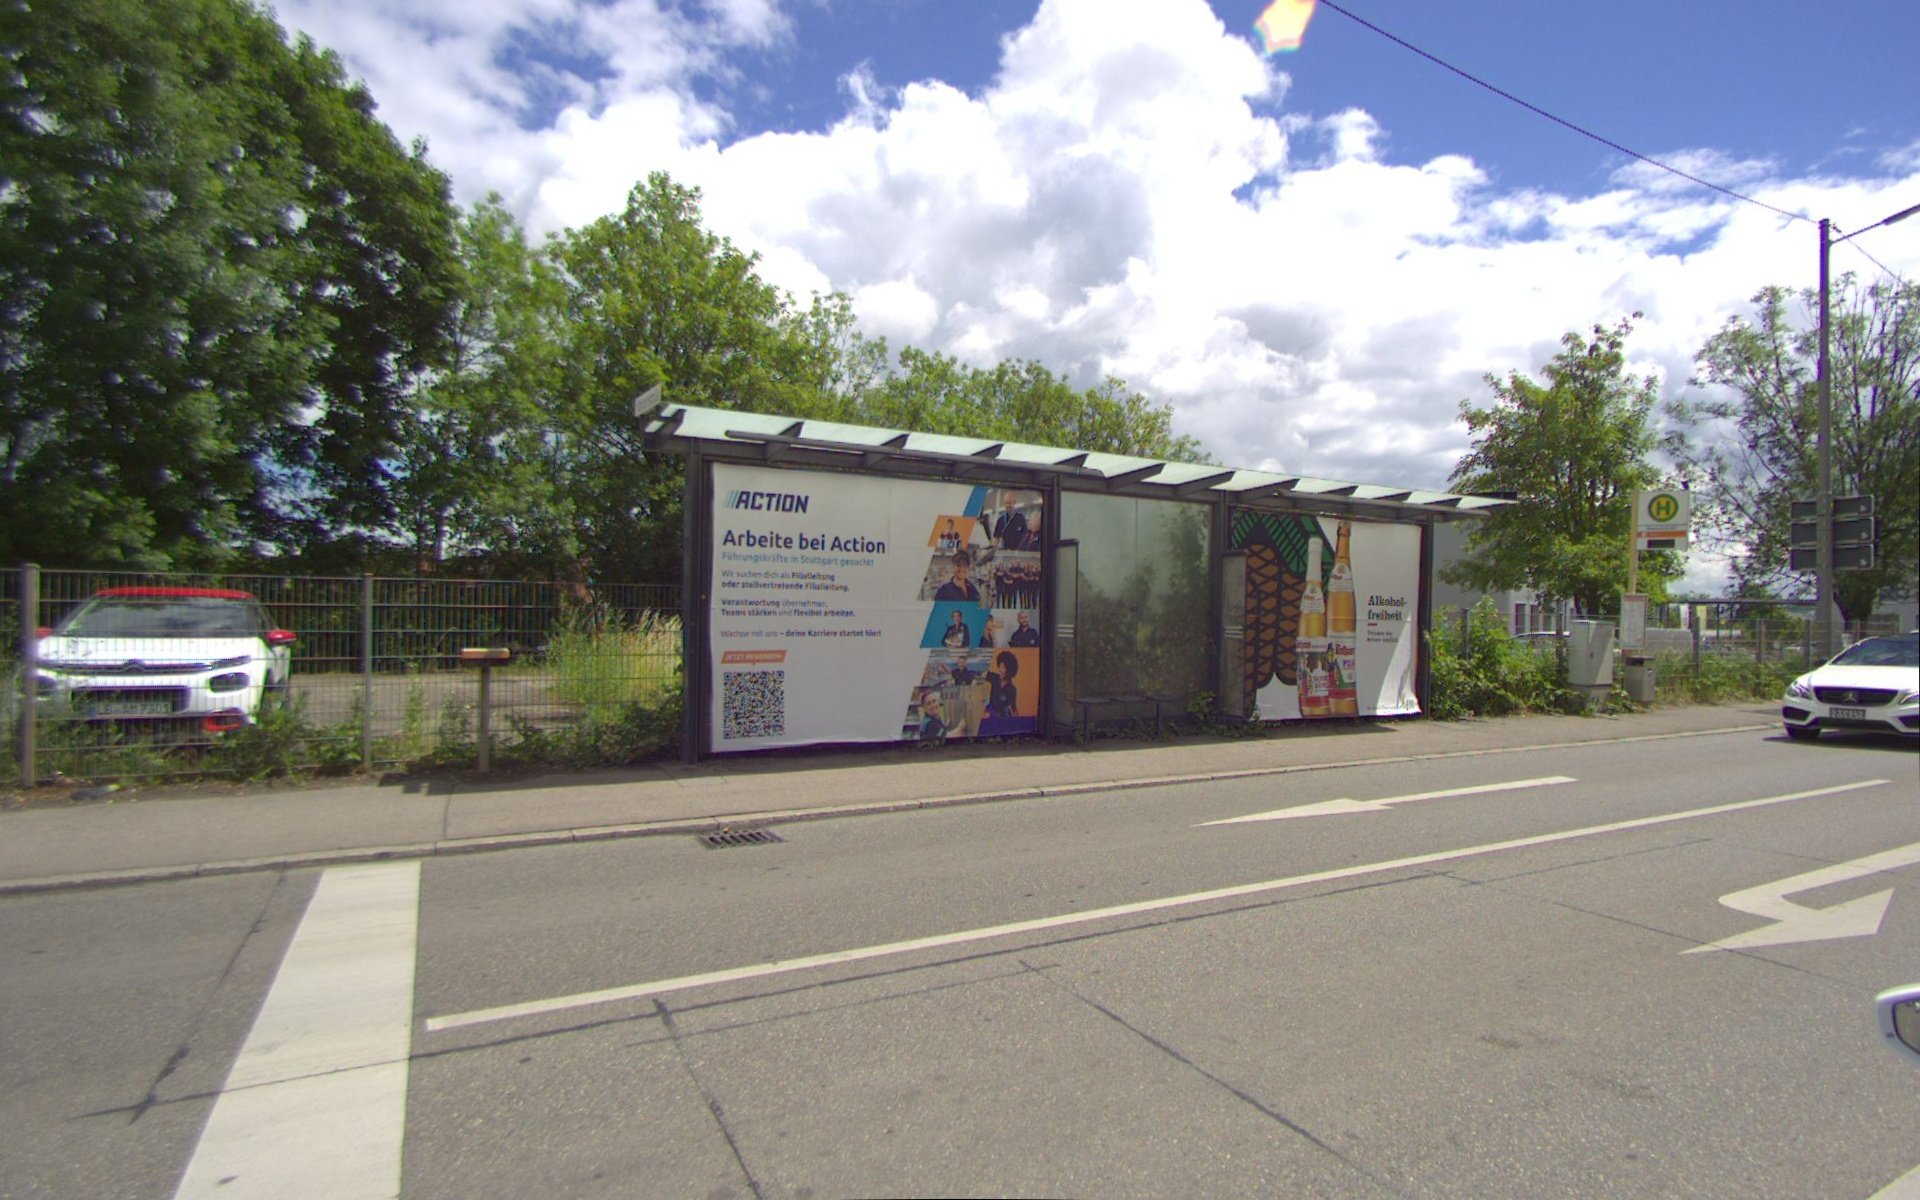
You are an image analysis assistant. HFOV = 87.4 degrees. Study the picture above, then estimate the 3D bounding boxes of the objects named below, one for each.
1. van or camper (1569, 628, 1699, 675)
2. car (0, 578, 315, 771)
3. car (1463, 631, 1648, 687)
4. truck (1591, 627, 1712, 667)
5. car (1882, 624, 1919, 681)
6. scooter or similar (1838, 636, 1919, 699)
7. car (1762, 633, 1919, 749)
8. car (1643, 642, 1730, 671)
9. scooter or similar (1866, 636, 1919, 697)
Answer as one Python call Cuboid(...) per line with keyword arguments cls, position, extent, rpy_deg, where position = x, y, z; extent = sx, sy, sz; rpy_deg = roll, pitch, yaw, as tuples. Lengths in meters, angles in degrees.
Cuboid(cls="van or camper", position=(37.816, 2.813, 56.441), extent=(5.815, 2.386, 2.490), rpy_deg=(0, -1, 41))
Cuboid(cls="car", position=(-7.642, 0.589, 9.705), extent=(2.000, 1.438, 4.293), rpy_deg=(1, -1, -28))
Cuboid(cls="car", position=(16.908, 1.651, 28.753), extent=(1.841, 1.399, 4.263), rpy_deg=(2, -2, -25))
Cuboid(cls="truck", position=(44.331, 3.003, 64.445), extent=(6.217, 2.258, 2.690), rpy_deg=(0, -3, 39))
Cuboid(cls="car", position=(36.658, 1.956, 36.594), extent=(2.175, 2.040, 4.137), rpy_deg=(1, 0, -32))
Cuboid(cls="scooter or similar", position=(19.379, 1.422, 21.183), extent=(1.446, 1.279, 0.535), rpy_deg=(2, 1, -14))
Cuboid(cls="car", position=(12.999, 1.148, 13.738), extent=(4.175, 1.395, 1.788), rpy_deg=(1, -2, -30))
Cuboid(cls="car", position=(44.160, 3.448, 61.124), extent=(4.174, 1.516, 1.922), rpy_deg=(2, -2, 37))
Cuboid(cls="scooter or similar", position=(20.602, 1.451, 22.026), extent=(1.452, 1.283, 0.533), rpy_deg=(2, 1, -26))
